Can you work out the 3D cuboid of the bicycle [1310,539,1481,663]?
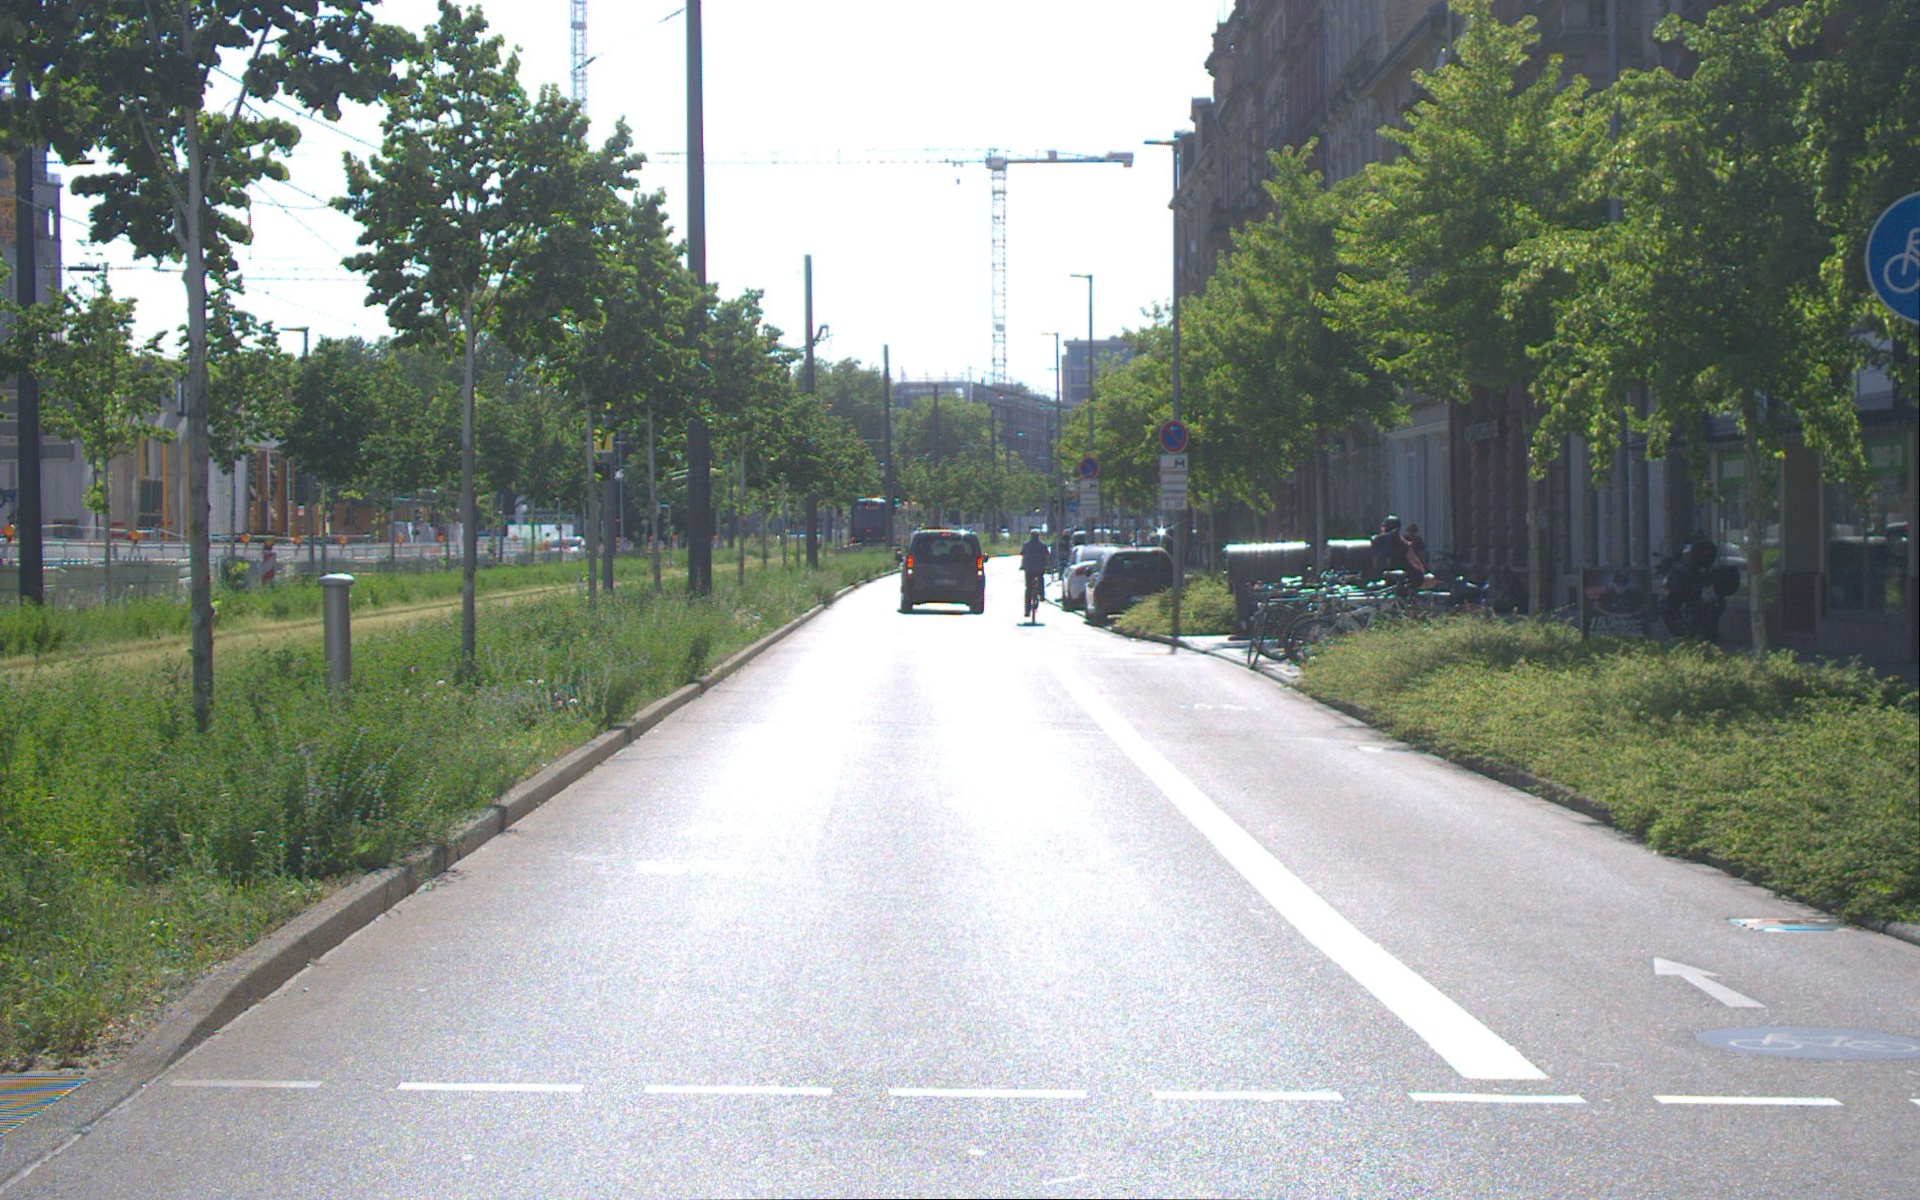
[{"bbox_3d":[5.207,0.010,41.133,1.894,1.326,0.617,-4,1,3],"label":"bicycle"}]

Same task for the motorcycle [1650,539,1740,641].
[{"bbox_3d":[9.429,-0.146,44.157,0.700,1.263,1.982,-1,1,-1],"label":"motorcycle"}]

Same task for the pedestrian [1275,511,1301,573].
[{"bbox_3d":[8.595,-1.529,90.094,0.614,1.606,0.669,-1,1,-1],"label":"pedestrian"}]

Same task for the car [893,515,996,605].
[{"bbox_3d":[-0.369,-0.897,76.353,2.200,1.919,4.654,-1,1,-1],"label":"car"}]

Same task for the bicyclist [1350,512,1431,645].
[{"bbox_3d":[5.146,-0.262,41.120,0.798,1.525,0.662,-4,1,3],"label":"bicyclist"}]

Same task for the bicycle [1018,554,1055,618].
[{"bbox_3d":[1.479,-0.280,66.855,0.601,1.177,1.869,2,1,-1],"label":"bicycle"}]

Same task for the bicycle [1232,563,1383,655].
[{"bbox_3d":[4.433,0.112,43.926,1.792,1.027,0.527,-5,1,0],"label":"bicycle"}]

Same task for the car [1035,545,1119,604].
[{"bbox_3d":[3.112,-0.702,92.300,2.028,1.493,4.530,-1,1,-1],"label":"car"}]

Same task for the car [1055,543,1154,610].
[{"bbox_3d":[3.322,-0.570,79.772,2.028,1.493,4.530,-1,1,-1],"label":"car"}]

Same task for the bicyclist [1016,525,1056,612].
[{"bbox_3d":[1.485,-0.618,67.122,0.684,1.667,0.922,2,1,-1],"label":"bicyclist"}]

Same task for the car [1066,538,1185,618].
[{"bbox_3d":[3.204,-0.452,67.344,2.028,1.493,4.654,-1,1,-1],"label":"car"}]

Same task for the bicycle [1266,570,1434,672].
[{"bbox_3d":[4.485,0.236,39.598,1.792,1.027,0.527,-5,1,0],"label":"bicycle"}]

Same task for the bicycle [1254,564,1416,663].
[{"bbox_3d":[4.459,0.154,40.920,1.792,1.027,0.527,-5,1,0],"label":"bicycle"}]

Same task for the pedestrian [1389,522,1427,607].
[{"bbox_3d":[8.516,-0.679,65.348,0.614,1.606,0.669,-1,1,-1],"label":"pedestrian"}]

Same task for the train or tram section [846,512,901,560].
[{"bbox_3d":[-5.074,-3.762,203.519,2.756,2.733,9.863,1,0,1],"label":"train or tram section"}]

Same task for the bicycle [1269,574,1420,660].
[{"bbox_3d":[4.745,0.206,42.505,1.792,1.027,0.527,-1,1,0],"label":"bicycle"}]
